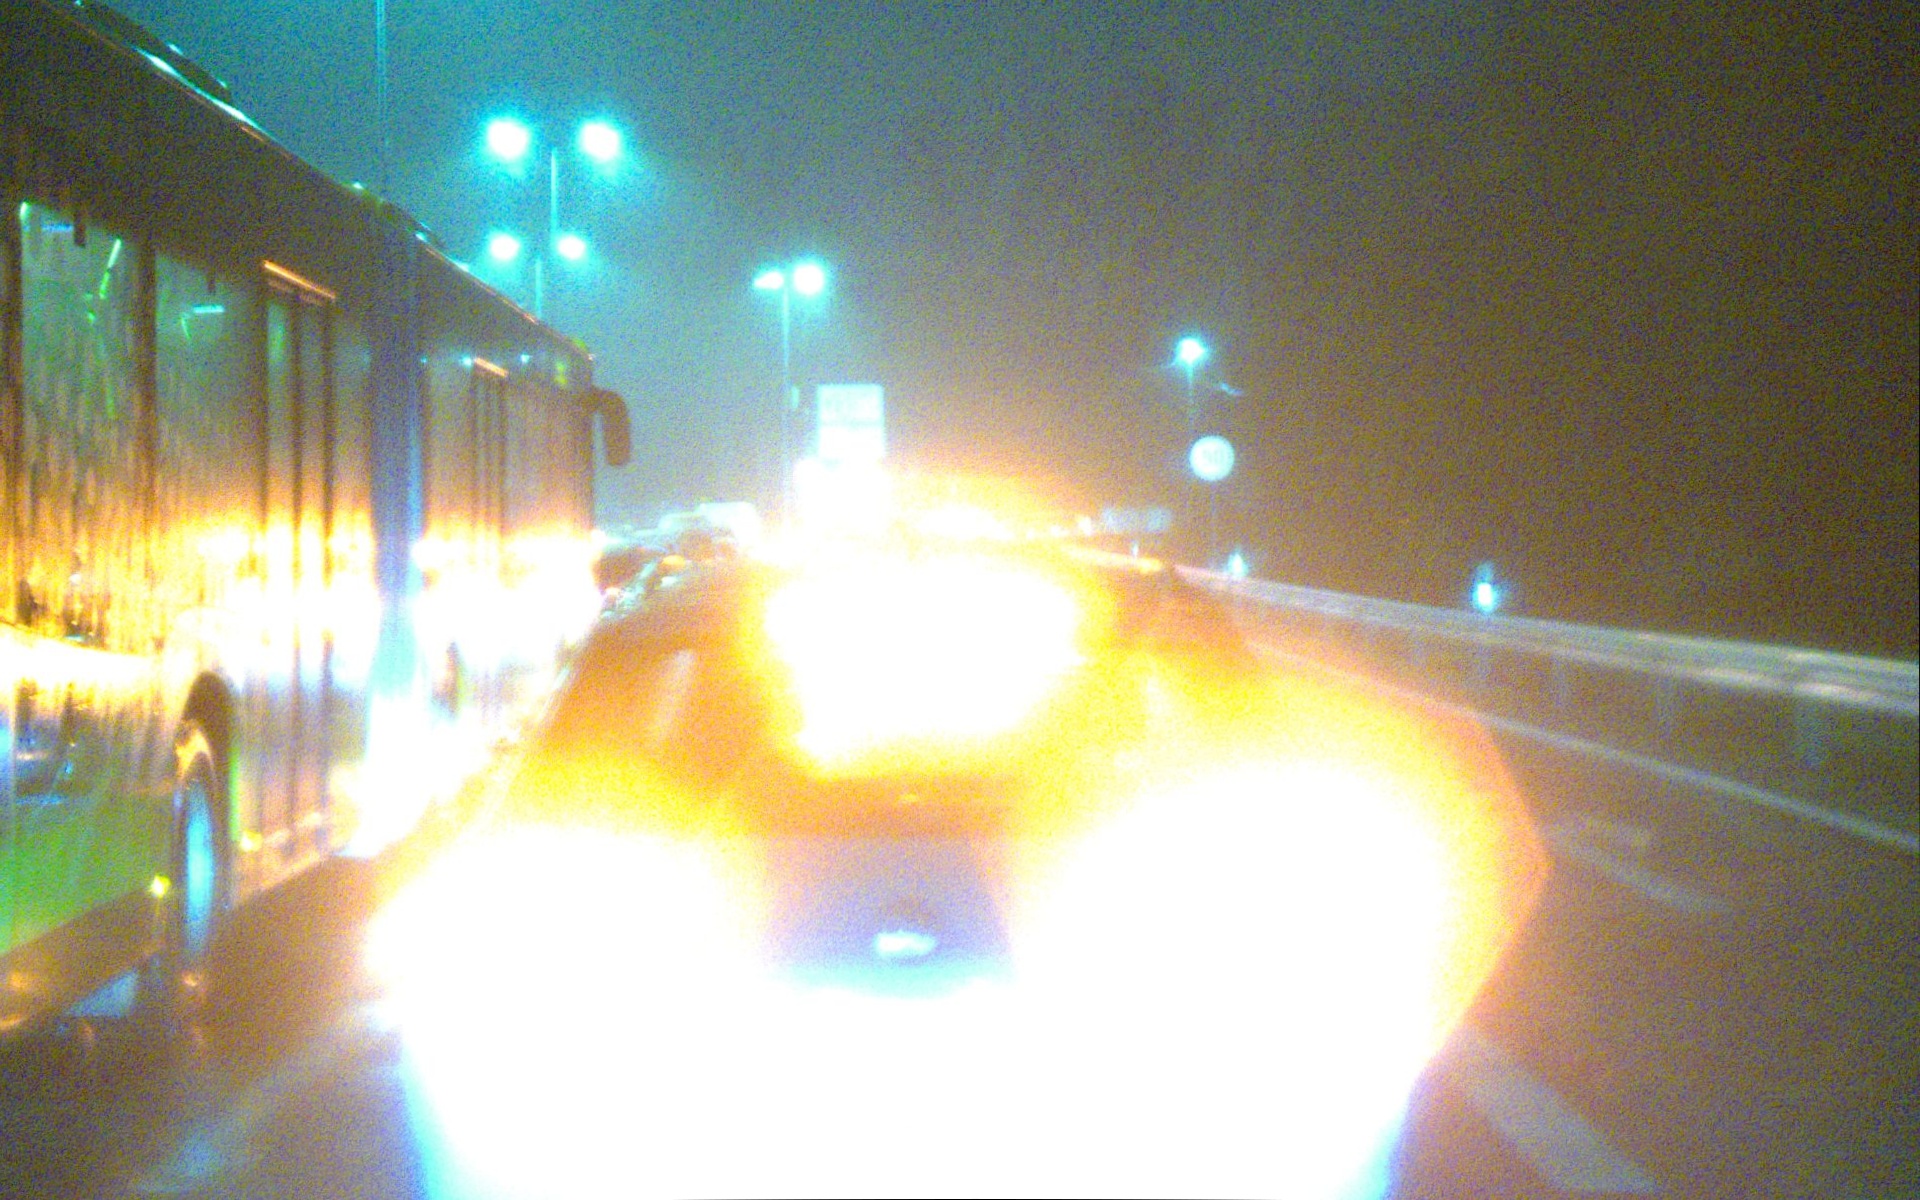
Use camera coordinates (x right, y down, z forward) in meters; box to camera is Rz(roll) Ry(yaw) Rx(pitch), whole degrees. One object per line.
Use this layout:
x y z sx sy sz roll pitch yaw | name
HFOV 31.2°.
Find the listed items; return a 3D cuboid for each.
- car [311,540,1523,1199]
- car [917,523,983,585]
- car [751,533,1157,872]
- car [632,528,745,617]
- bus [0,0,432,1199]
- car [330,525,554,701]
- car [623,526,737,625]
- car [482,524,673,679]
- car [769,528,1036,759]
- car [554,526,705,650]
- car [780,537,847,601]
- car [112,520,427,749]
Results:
-0.156 0.619 7.459 1.821 1.479 4.568 0 1 -2 | car
-0.324 -1.410 105.950 1.952 1.875 4.000 1 1 -1 | car
-0.132 0.396 17.112 1.731 1.444 4.725 0 1 -3 | car
-4.837 -0.517 61.716 1.779 1.538 3.875 0 1 -1 | car
-3.581 -0.276 10.952 2.815 3.013 8.688 0 1 -2 | bus
-4.788 0.076 32.197 1.779 1.538 3.875 0 1 -4 | car
-4.548 -0.427 56.042 1.779 1.538 3.875 0 1 -4 | car
-3.985 -0.022 36.312 1.779 1.538 3.875 0 1 -3 | car
-0.497 0.258 25.261 1.739 1.559 3.777 0 1 -4 | car
-4.264 -0.185 44.794 1.779 1.538 3.875 0 1 -3 | car
-4.270 -0.910 100.385 1.816 1.791 3.803 1 1 -1 | car
-4.955 0.196 25.128 1.779 1.538 3.875 0 1 -4 | car
